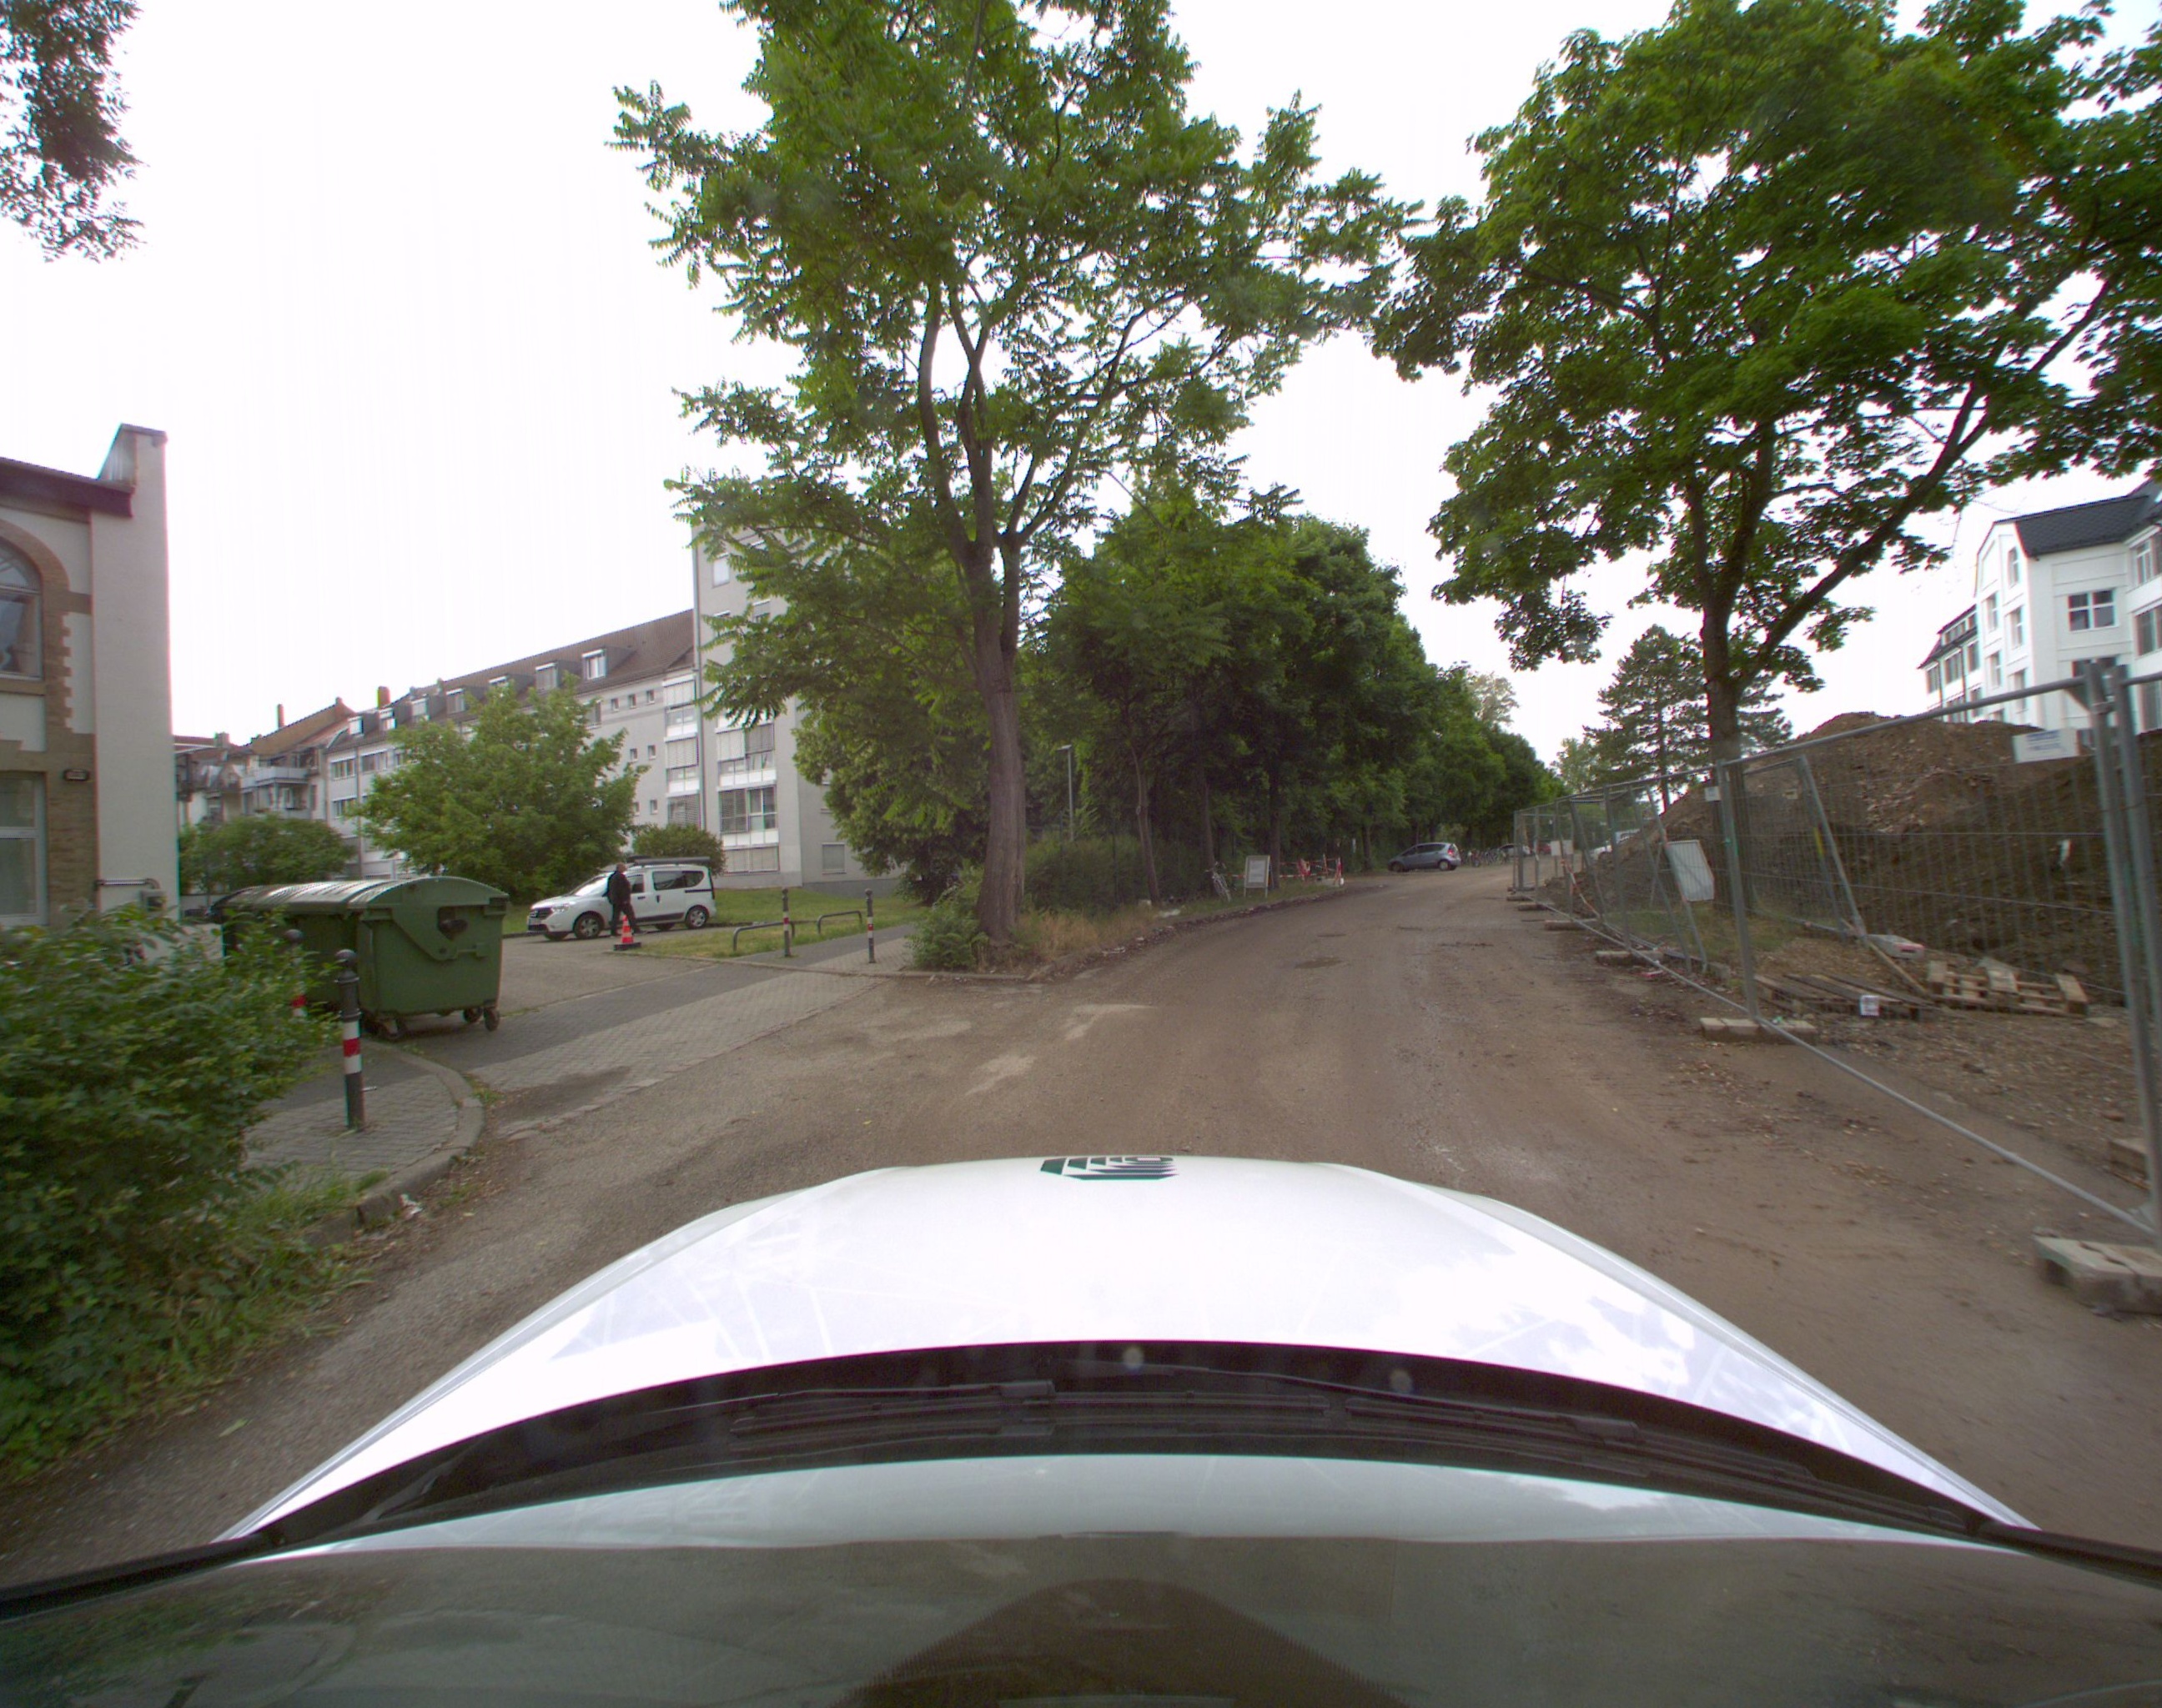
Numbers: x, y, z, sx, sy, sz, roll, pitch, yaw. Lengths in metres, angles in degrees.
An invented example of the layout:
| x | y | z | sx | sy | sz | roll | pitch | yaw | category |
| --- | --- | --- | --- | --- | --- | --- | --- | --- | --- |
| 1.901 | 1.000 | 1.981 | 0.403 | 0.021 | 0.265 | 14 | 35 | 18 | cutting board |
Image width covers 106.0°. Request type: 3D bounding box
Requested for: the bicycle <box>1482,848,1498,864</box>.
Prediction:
| x | y | z | sx | sy | sz | roll | pitch | yaw | category |
| --- | --- | --- | --- | --- | --- | --- | --- | --- | --- |
| 26.794 | 0.127 | 53.362 | 0.764 | 0.978 | 2.043 | -2 | 0 | 23 | bicycle |

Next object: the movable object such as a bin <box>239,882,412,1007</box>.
| x | y | z | sx | sy | sz | roll | pitch | yaw | category |
| --- | --- | --- | --- | --- | --- | --- | --- | --- | --- |
| -8.660 | 0.993 | 9.355 | 1.337 | 1.265 | 1.062 | -2 | 0 | 29 | movable object such as a bin |

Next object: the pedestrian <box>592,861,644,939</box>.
| x | y | z | sx | sy | sz | roll | pitch | yaw | category |
| --- | --- | --- | --- | --- | --- | --- | --- | --- | --- |
| -11.140 | 1.099 | 19.597 | 0.689 | 1.809 | 0.761 | -5 | -2 | 30 | pedestrian |

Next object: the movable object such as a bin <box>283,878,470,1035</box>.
| x | y | z | sx | sy | sz | roll | pitch | yaw | category |
| --- | --- | --- | --- | --- | --- | --- | --- | --- | --- |
| -7.384 | 1.022 | 8.552 | 1.336 | 1.456 | 1.062 | -3 | -1 | 29 | movable object such as a bin |

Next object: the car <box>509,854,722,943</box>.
| x | y | z | sx | sy | sz | roll | pitch | yaw | category |
| --- | --- | --- | --- | --- | --- | --- | --- | --- | --- |
| -11.826 | 1.070 | 21.024 | 1.830 | 2.014 | 4.379 | -4 | -2 | 30 | car |

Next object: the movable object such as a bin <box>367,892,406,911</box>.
| x | y | z | sx | sy | sz | roll | pitch | yaw | category |
| --- | --- | --- | --- | --- | --- | --- | --- | --- | --- |
| -27.477 | 1.879 | 32.237 | 0.899 | 0.637 | 0.974 | -4 | -2 | 36 | movable object such as a bin |

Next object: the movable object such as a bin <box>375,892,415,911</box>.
| x | y | z | sx | sy | sz | roll | pitch | yaw | category |
| --- | --- | --- | --- | --- | --- | --- | --- | --- | --- |
| -26.580 | 1.833 | 31.556 | 0.899 | 0.637 | 0.974 | -4 | -2 | 36 | movable object such as a bin |

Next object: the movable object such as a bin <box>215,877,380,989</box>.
| x | y | z | sx | sy | sz | roll | pitch | yaw | category |
| --- | --- | --- | --- | --- | --- | --- | --- | --- | --- |
| -9.783 | 0.951 | 10.190 | 1.337 | 1.265 | 1.062 | -2 | 0 | 26 | movable object such as a bin |

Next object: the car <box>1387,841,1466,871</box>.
| x | y | z | sx | sy | sz | roll | pitch | yaw | category |
| --- | --- | --- | --- | --- | --- | --- | --- | --- | --- |
| 19.396 | 0.118 | 45.789 | 3.663 | 1.500 | 1.880 | -3 | 0 | 37 | car |

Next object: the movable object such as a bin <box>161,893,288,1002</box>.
| x | y | z | sx | sy | sz | roll | pitch | yaw | category |
| --- | --- | --- | --- | --- | --- | --- | --- | --- | --- |
| -11.253 | 1.178 | 10.762 | 1.062 | 1.265 | 1.337 | -2 | -1 | -43 | movable object such as a bin |

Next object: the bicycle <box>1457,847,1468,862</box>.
| x | y | z | sx | sy | sz | roll | pitch | yaw | category |
| --- | --- | --- | --- | --- | --- | --- | --- | --- | --- |
| 26.286 | 0.050 | 56.165 | 0.583 | 0.978 | 2.043 | -2 | 0 | 23 | bicycle |

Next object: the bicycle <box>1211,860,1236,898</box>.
| x | y | z | sx | sy | sz | roll | pitch | yaw | category |
| --- | --- | --- | --- | --- | --- | --- | --- | --- | --- |
| 3.612 | 0.621 | 20.625 | 0.415 | 0.905 | 1.159 | 4 | 1 | 18 | bicycle |

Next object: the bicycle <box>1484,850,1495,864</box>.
| x | y | z | sx | sy | sz | roll | pitch | yaw | category |
| --- | --- | --- | --- | --- | --- | --- | --- | --- | --- |
| 29.339 | 0.213 | 58.513 | 0.583 | 0.978 | 2.043 | -2 | 0 | 23 | bicycle |

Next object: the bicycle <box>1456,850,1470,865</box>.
| x | y | z | sx | sy | sz | roll | pitch | yaw | category |
| --- | --- | --- | --- | --- | --- | --- | --- | --- | --- |
| 25.312 | 0.225 | 53.990 | 0.764 | 0.978 | 2.043 | -2 | 0 | 23 | bicycle |

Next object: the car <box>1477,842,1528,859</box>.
| x | y | z | sx | sy | sz | roll | pitch | yaw | category |
| --- | --- | --- | --- | --- | --- | --- | --- | --- | --- |
| 41.301 | -0.320 | 79.875 | 3.969 | 1.508 | 2.002 | -2 | 0 | 4 | car |

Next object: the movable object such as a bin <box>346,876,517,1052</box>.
| x | y | z | sx | sy | sz | roll | pitch | yaw | category |
| --- | --- | --- | --- | --- | --- | --- | --- | --- | --- |
| -6.198 | 0.958 | 7.767 | 1.337 | 1.450 | 1.062 | -1 | 0 | 43 | movable object such as a bin |

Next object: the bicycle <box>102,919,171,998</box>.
| x | y | z | sx | sy | sz | roll | pitch | yaw | category |
| --- | --- | --- | --- | --- | --- | --- | --- | --- | --- |
| -13.990 | 1.510 | 12.050 | 1.805 | 1.065 | 0.398 | -3 | -1 | 32 | bicycle |
